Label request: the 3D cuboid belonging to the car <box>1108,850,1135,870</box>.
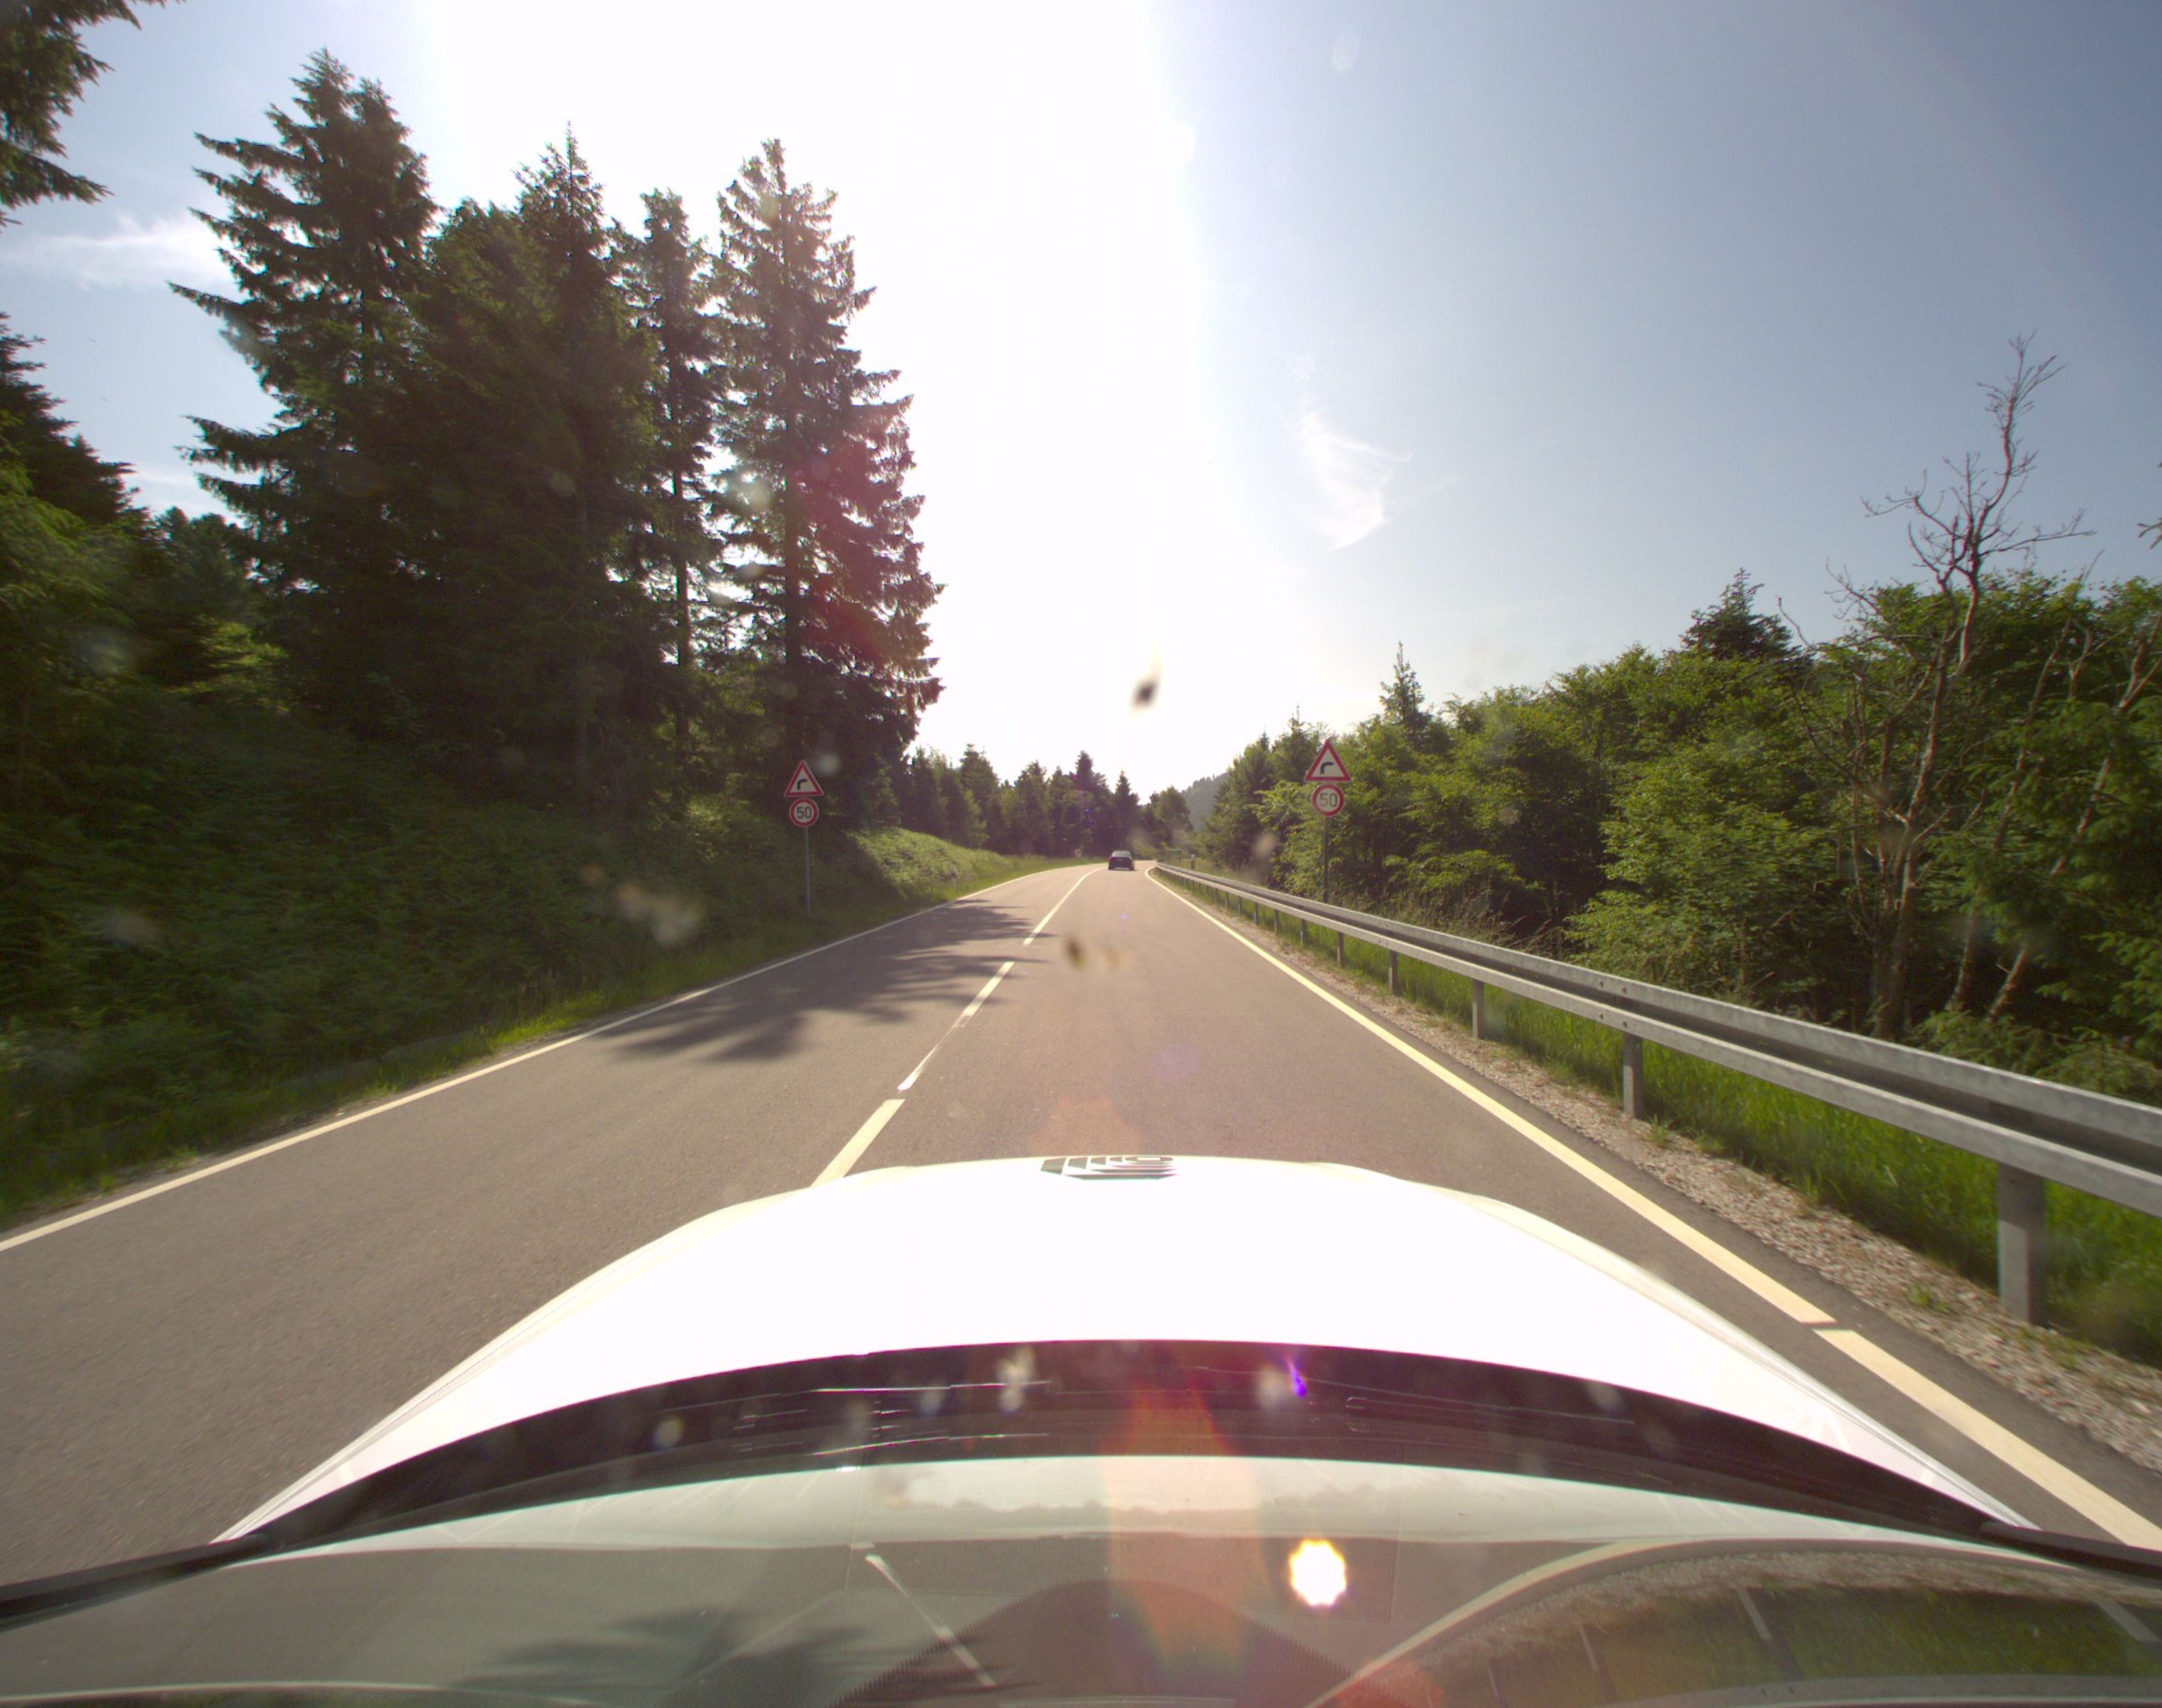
[{"bbox_3d":[3.074,0.405,61.050,1.766,1.442,3.716,1,0,7],"label":"car"}]
